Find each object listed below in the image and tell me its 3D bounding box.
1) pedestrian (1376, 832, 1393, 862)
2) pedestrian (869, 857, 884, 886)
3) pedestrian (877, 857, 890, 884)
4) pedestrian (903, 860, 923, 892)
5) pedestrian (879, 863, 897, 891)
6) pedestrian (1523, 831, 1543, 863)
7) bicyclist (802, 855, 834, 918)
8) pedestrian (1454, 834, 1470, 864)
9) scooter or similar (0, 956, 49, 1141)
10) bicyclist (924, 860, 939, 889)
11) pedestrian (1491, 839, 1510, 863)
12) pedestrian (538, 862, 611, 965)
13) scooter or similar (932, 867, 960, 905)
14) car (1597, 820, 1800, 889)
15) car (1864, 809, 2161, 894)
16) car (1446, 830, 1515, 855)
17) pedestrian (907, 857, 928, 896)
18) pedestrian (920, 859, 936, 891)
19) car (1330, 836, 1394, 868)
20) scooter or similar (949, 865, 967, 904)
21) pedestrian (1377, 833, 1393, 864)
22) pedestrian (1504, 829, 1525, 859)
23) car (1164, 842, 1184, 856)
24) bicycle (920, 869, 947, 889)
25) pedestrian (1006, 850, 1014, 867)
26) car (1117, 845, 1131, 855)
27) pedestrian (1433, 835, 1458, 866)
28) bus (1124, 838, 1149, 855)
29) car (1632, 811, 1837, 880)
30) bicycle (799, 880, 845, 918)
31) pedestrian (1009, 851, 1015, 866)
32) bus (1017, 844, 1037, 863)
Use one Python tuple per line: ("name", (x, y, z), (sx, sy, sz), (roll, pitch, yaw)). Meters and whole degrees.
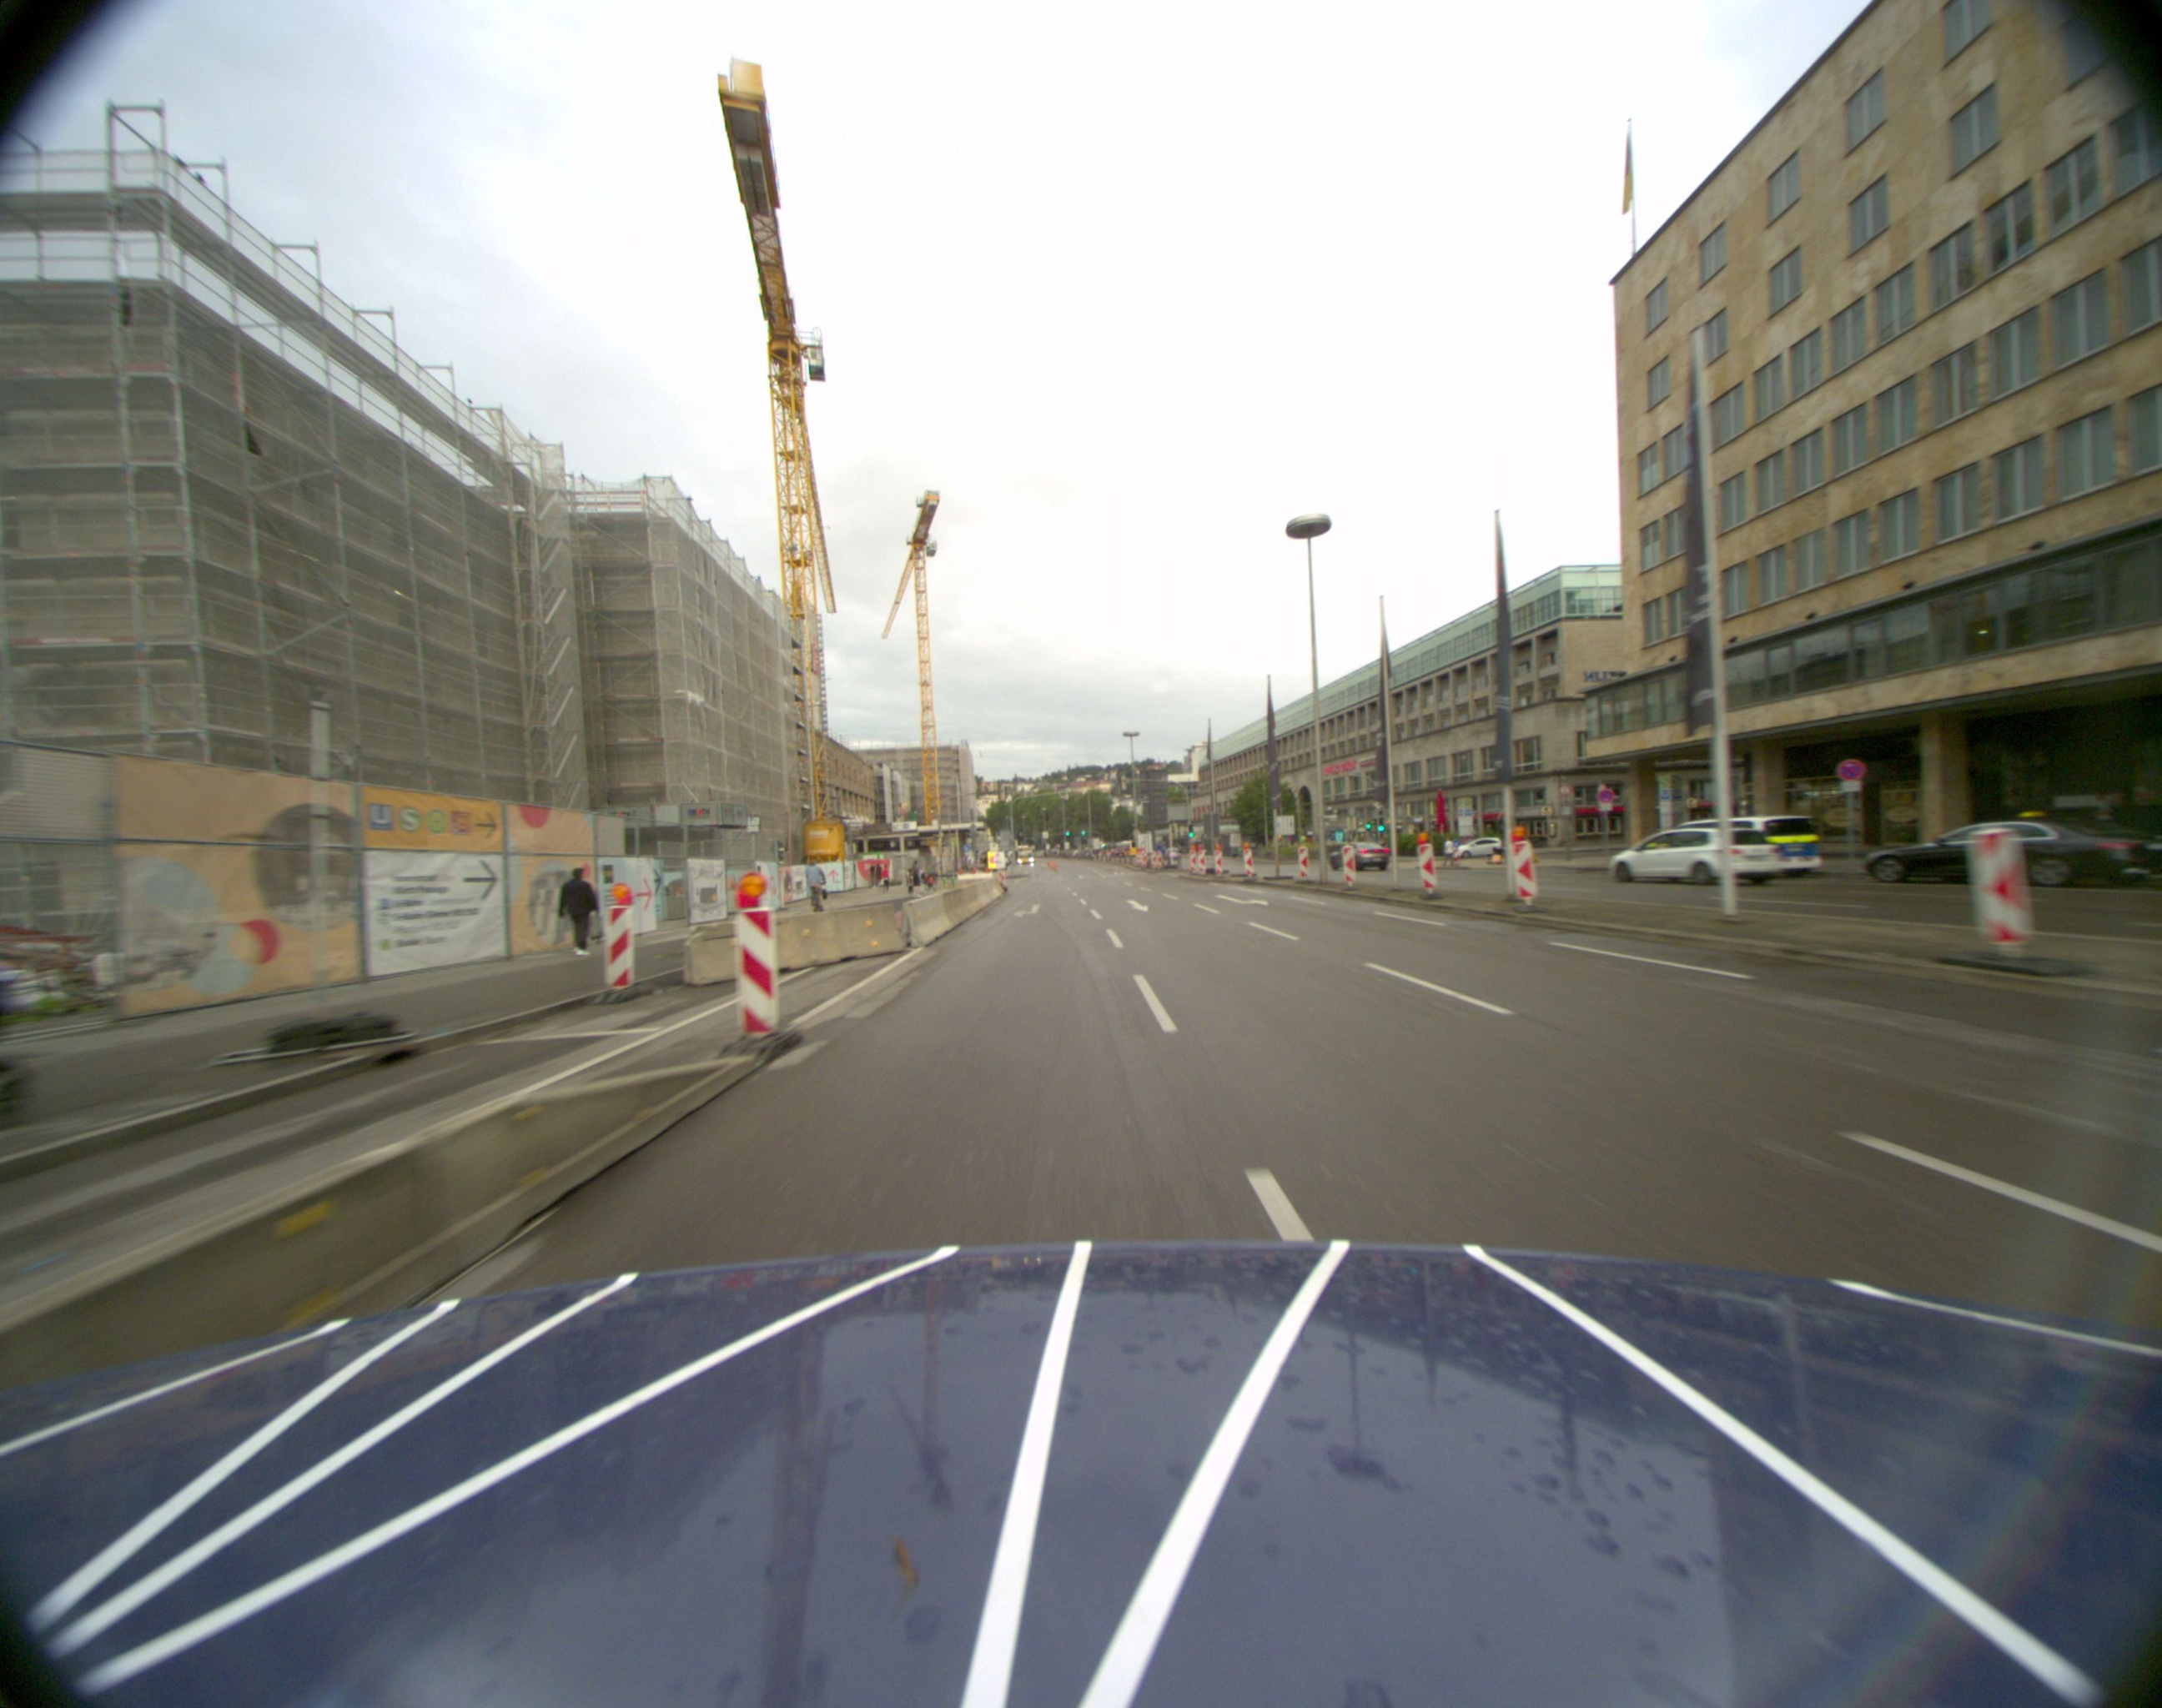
("pedestrian", (20.387, -0.465, 51.016), (0.705, 2.002, 0.807), (-3, 1, -4))
("pedestrian", (-14.512, 1.269, 53.899), (0.640, 2.002, 0.629), (-2, 1, 20))
("pedestrian", (-14.456, 1.205, 55.545), (0.629, 2.002, 0.577), (-3, 1, -36))
("pedestrian", (-9.644, 1.245, 43.633), (0.815, 1.745, 0.881), (-3, 1, 1))
("pedestrian", (-11.870, 1.400, 46.763), (0.741, 1.717, 0.715), (0, 1, 17))
("pedestrian", (23.964, -0.394, 40.294), (0.564, 1.659, 0.752), (-3, 1, -6))
("bicyclist", (-8.637, 1.056, 24.925), (0.728, 2.002, 0.599), (-3, 1, 1))
("pedestrian", (21.079, -0.268, 42.044), (0.451, 1.609, 0.526), (-6, 2, -15))
("scooter or similar", (-7.511, 1.319, 4.730), (0.666, 1.191, 1.044), (-3, 1, 1))
("bicyclist", (-9.013, 1.219, 45.861), (0.696, 1.695, 0.434), (-2, 1, 14))
("pedestrian", (22.865, -0.154, 41.430), (0.564, 1.284, 0.752), (-3, 1, -6))
("pedestrian", (-9.747, 1.129, 14.642), (0.850, 1.884, 0.662), (-3, 1, 1))
("scooter or similar", (-5.049, 1.184, 28.459), (0.492, 1.326, 1.027), (-2, 1, 23))
("car", (17.153, 0.004, 21.454), (1.829, 1.659, 4.498), (-3, 0, -4))
("car", (20.866, -0.082, 16.991), (1.759, 1.612, 4.562), (-2, 1, -5))
("car", (29.562, -0.822, 56.305), (4.091, 1.630, 1.806), (-3, 1, 1))
("pedestrian", (-8.630, 1.177, 40.117), (0.788, 2.000, 0.866), (-2, 1, 5))
("pedestrian", (-8.669, 1.205, 43.037), (0.806, 1.746, 0.814), (-1, 3, -21))
("car", (15.819, -0.120, 43.009), (1.779, 1.659, 4.498), (-2, 0, -3))
("scooter or similar", (-4.364, 1.062, 26.887), (0.526, 1.326, 1.024), (-3, 1, -11))
("pedestrian", (19.341, -0.367, 48.375), (0.591, 1.914, 0.751), (-3, 1, -4))
("pedestrian", (23.320, -0.543, 40.911), (0.667, 1.582, 0.679), (-3, 1, -26))
("car", (11.987, -0.639, 98.387), (1.759, 1.612, 3.998), (-2, 1, -5))
("bicycle", (-8.949, 1.517, 46.093), (0.755, 1.127, 1.994), (-2, 1, 15))
("pedestrian", (-8.173, 0.513, 87.485), (0.735, 2.002, 0.645), (-3, 1, -10))
("car", (7.821, -0.689, 139.654), (1.887, 1.674, 3.997), (-3, 1, -6))
("pedestrian", (20.143, -0.177, 42.009), (0.839, 1.609, 0.788), (-6, 2, -14))
("bus", (10.620, -1.432, 147.128), (2.910, 2.923, 9.816), (-3, 1, -7))
("car", (20.681, -0.219, 24.430), (1.906, 1.917, 5.073), (-2, 0, -5))
("bicycle", (-8.568, 1.480, 25.263), (0.767, 1.105, 1.981), (-3, 1, 1))
("pedestrian", (-8.481, 0.541, 93.768), (0.646, 1.813, 0.735), (-2, 1, 0))
("bus", (-9.447, -0.143, 132.914), (3.000, 3.120, 7.760), (-3, 0, -6))
